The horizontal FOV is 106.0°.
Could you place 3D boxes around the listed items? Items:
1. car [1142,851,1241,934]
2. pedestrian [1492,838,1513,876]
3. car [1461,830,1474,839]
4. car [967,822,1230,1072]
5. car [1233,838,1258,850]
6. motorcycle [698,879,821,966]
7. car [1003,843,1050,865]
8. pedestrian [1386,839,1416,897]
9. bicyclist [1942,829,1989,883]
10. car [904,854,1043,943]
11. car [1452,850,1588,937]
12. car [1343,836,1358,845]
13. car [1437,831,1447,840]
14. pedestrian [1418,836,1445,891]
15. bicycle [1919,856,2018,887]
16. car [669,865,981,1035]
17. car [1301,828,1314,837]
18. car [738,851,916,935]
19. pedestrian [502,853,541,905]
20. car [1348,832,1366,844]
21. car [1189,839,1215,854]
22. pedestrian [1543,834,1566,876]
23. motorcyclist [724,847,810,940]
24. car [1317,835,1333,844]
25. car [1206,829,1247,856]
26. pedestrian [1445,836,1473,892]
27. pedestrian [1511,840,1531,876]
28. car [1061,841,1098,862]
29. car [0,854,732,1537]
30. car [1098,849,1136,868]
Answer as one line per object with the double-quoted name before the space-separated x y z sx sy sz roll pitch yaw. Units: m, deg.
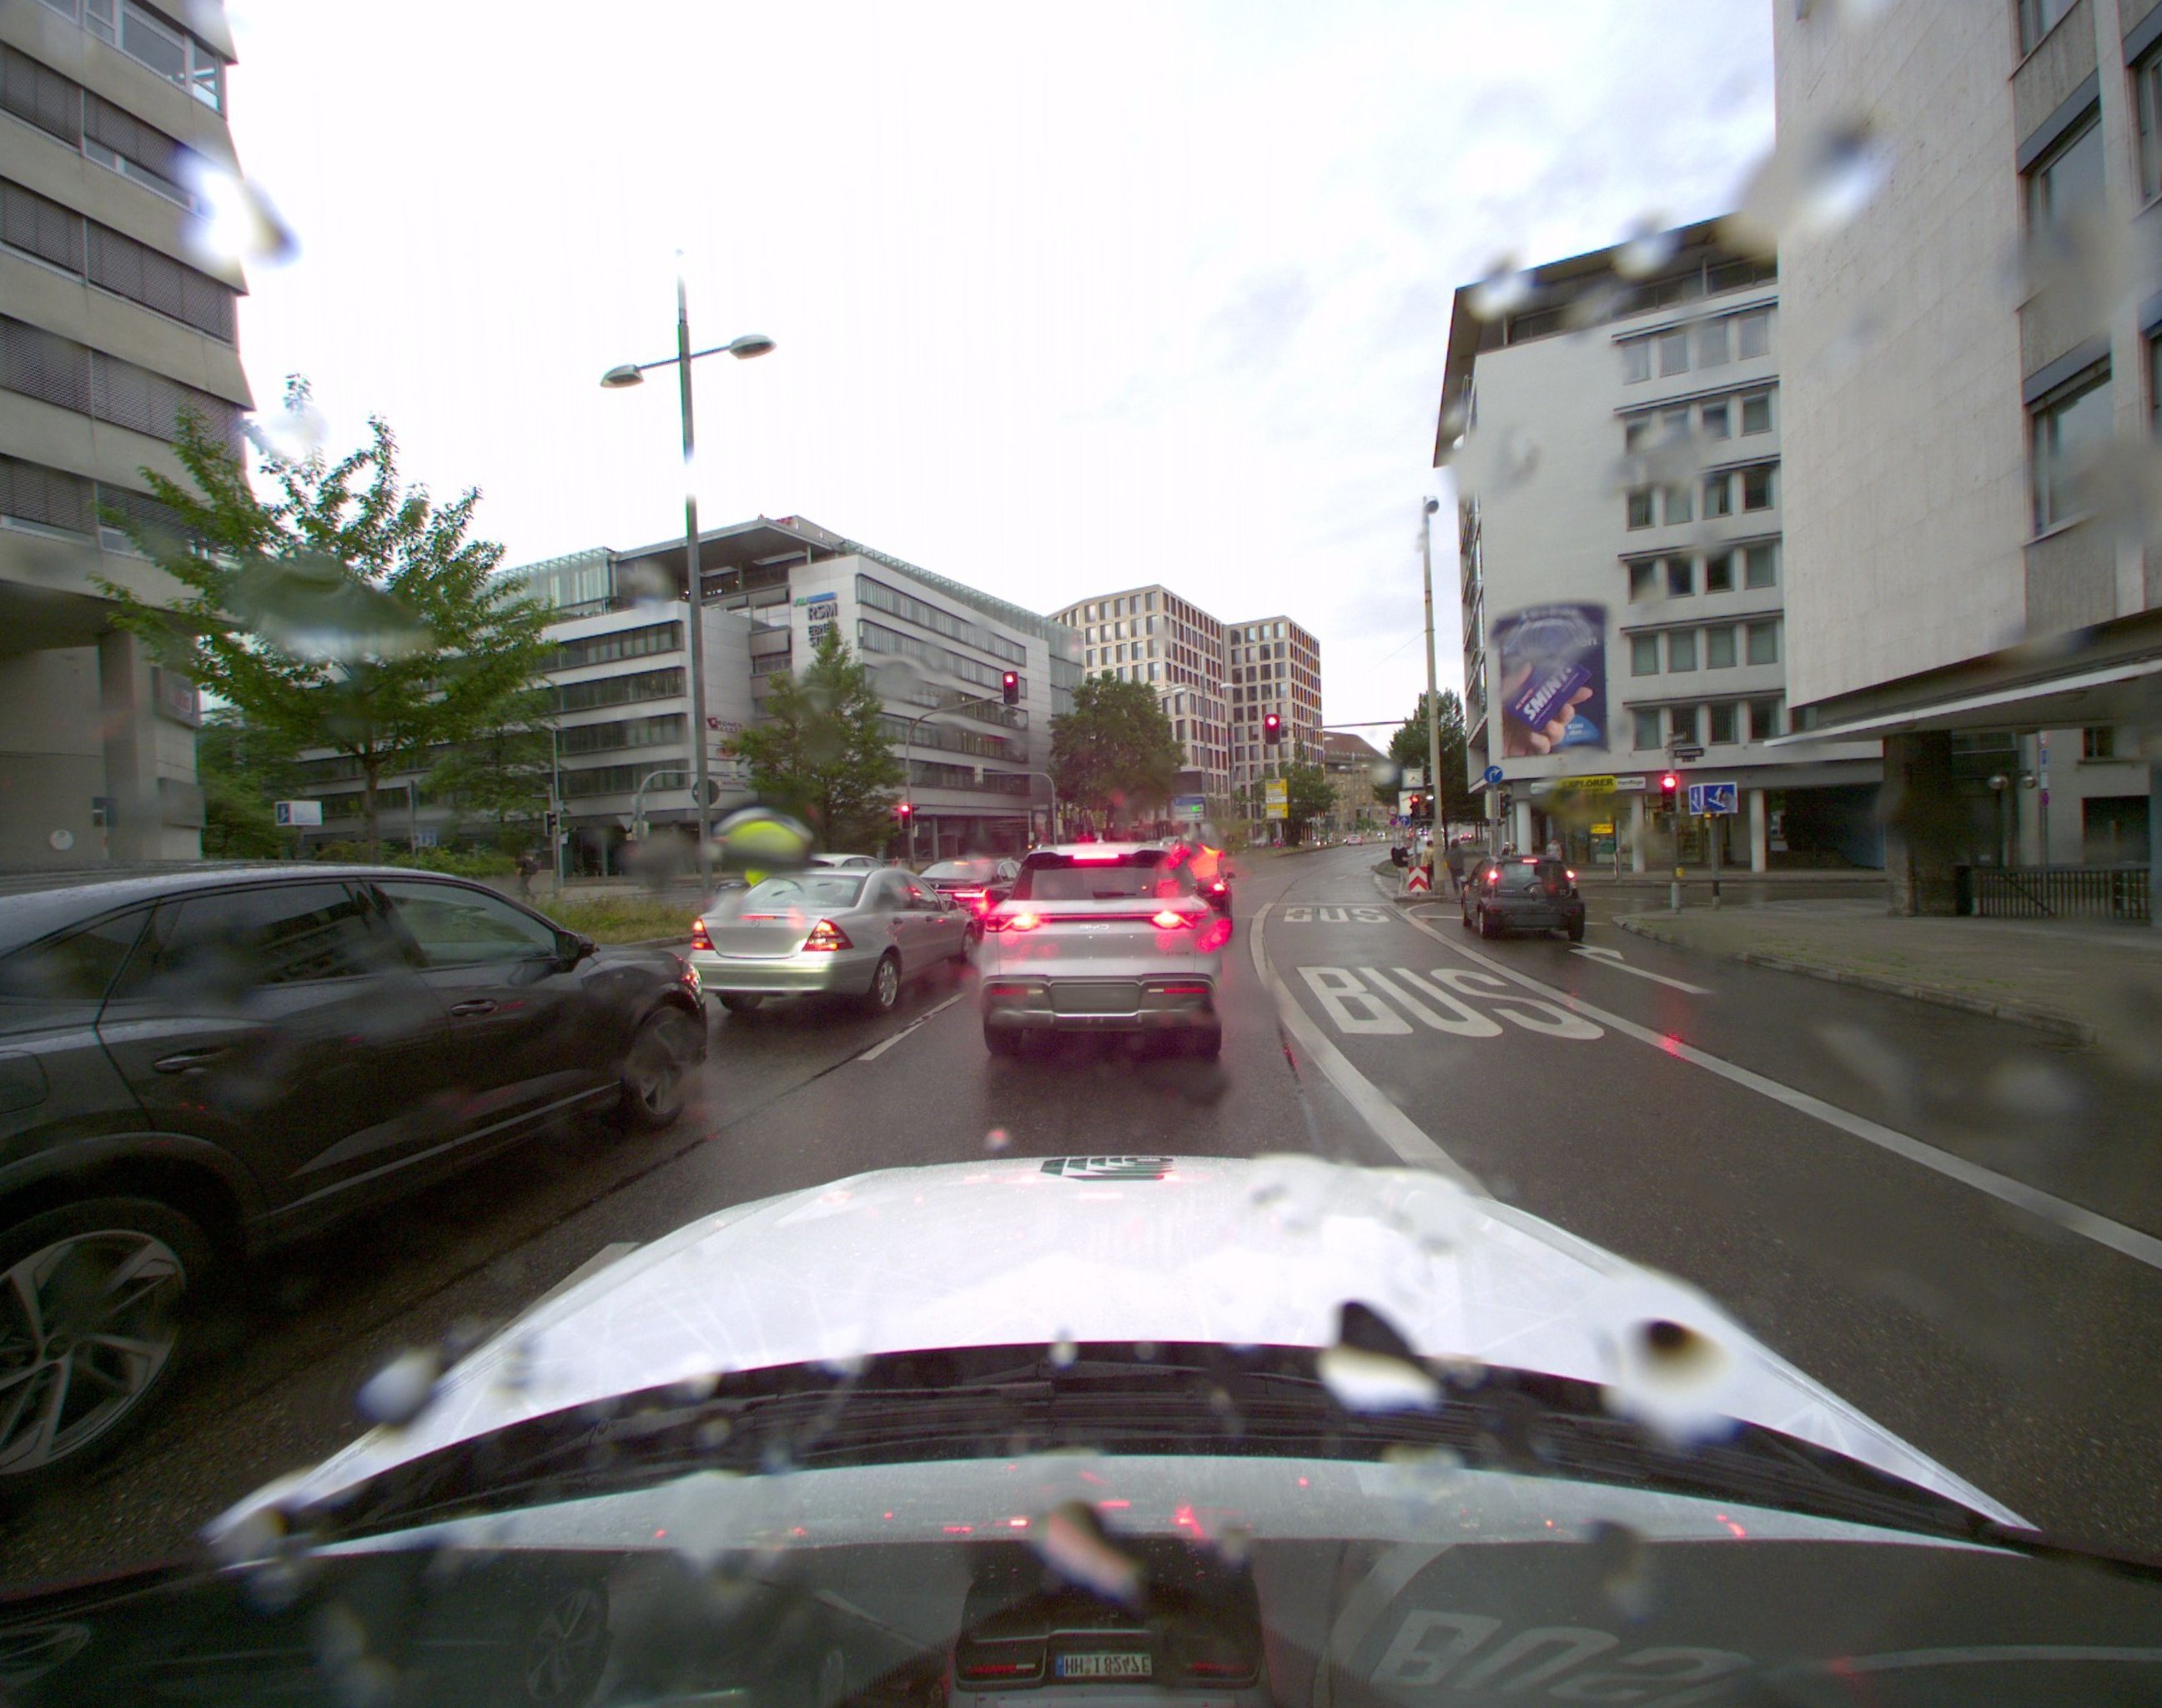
"car" 2.376 0.707 16.710 1.682 1.486 4.013 -1 -1 12
"pedestrian" 18.956 0.136 36.623 0.657 1.655 0.662 -1 0 -45
"car" 70.814 -3.625 149.002 1.677 1.486 4.025 -1 -1 32
"car" 0.248 0.645 7.514 1.768 1.679 4.004 -1 -1 4
"car" 22.001 -1.372 108.852 1.974 1.488 4.025 -1 1 29
"motorcycle" -4.882 0.995 12.537 0.795 1.185 2.034 -1 -1 11
"car" -4.101 -0.018 62.056 1.976 1.610 4.022 -1 0 22
"pedestrian" 9.756 0.430 24.849 0.764 1.731 0.599 -1 0 16
"bicyclist" 26.043 0.054 23.982 0.761 1.569 0.535 -1 0 20
"car" -1.917 0.768 15.738 1.561 1.486 4.010 -1 -1 9
"car" 8.166 0.664 15.481 1.558 1.429 4.018 -1 -1 18
"car" 50.688 -2.566 153.103 1.974 1.488 4.025 -1 1 29
"car" 87.706 -4.488 197.898 1.975 2.013 4.025 -1 0 29
"pedestrian" 11.616 0.306 27.009 0.742 1.798 0.821 -1 1 22
"bicycle" 26.111 0.527 23.979 2.008 0.888 0.405 -1 0 19
"car" -2.463 0.841 9.002 1.561 1.407 4.120 -1 -1 10
"car" 45.360 -4.304 162.950 1.590 1.741 3.467 -1 -1 34
"car" -4.961 0.704 16.526 1.696 1.486 4.013 -1 -1 11
"pedestrian" -18.374 0.818 26.756 0.672 1.683 0.766 -1 0 15
"car" 37.546 -2.149 110.590 1.871 1.643 4.023 -1 0 24
"car" 13.025 -0.791 87.513 1.629 1.581 4.108 -1 0 23
"pedestrian" 20.517 0.030 35.291 0.778 1.794 0.662 -1 0 -45
"motorcyclist" -4.849 0.587 12.646 0.765 1.380 1.121 -1 -1 10
"car" 44.166 -2.620 147.450 1.974 1.488 4.025 -1 1 29
"car" 11.645 -0.881 64.952 1.975 2.014 4.876 -1 -1 25
"pedestrian" 12.361 0.319 26.655 0.742 1.798 0.821 -1 1 22
"pedestrian" 19.497 0.171 36.072 0.657 1.543 0.618 -1 0 -45
"car" -0.073 -0.229 63.055 1.630 1.536 4.172 -1 0 18
"car" -3.207 0.779 3.236 1.642 1.521 4.274 -1 0 2
"car" 2.734 0.369 61.112 1.675 1.385 3.888 -1 -1 21
